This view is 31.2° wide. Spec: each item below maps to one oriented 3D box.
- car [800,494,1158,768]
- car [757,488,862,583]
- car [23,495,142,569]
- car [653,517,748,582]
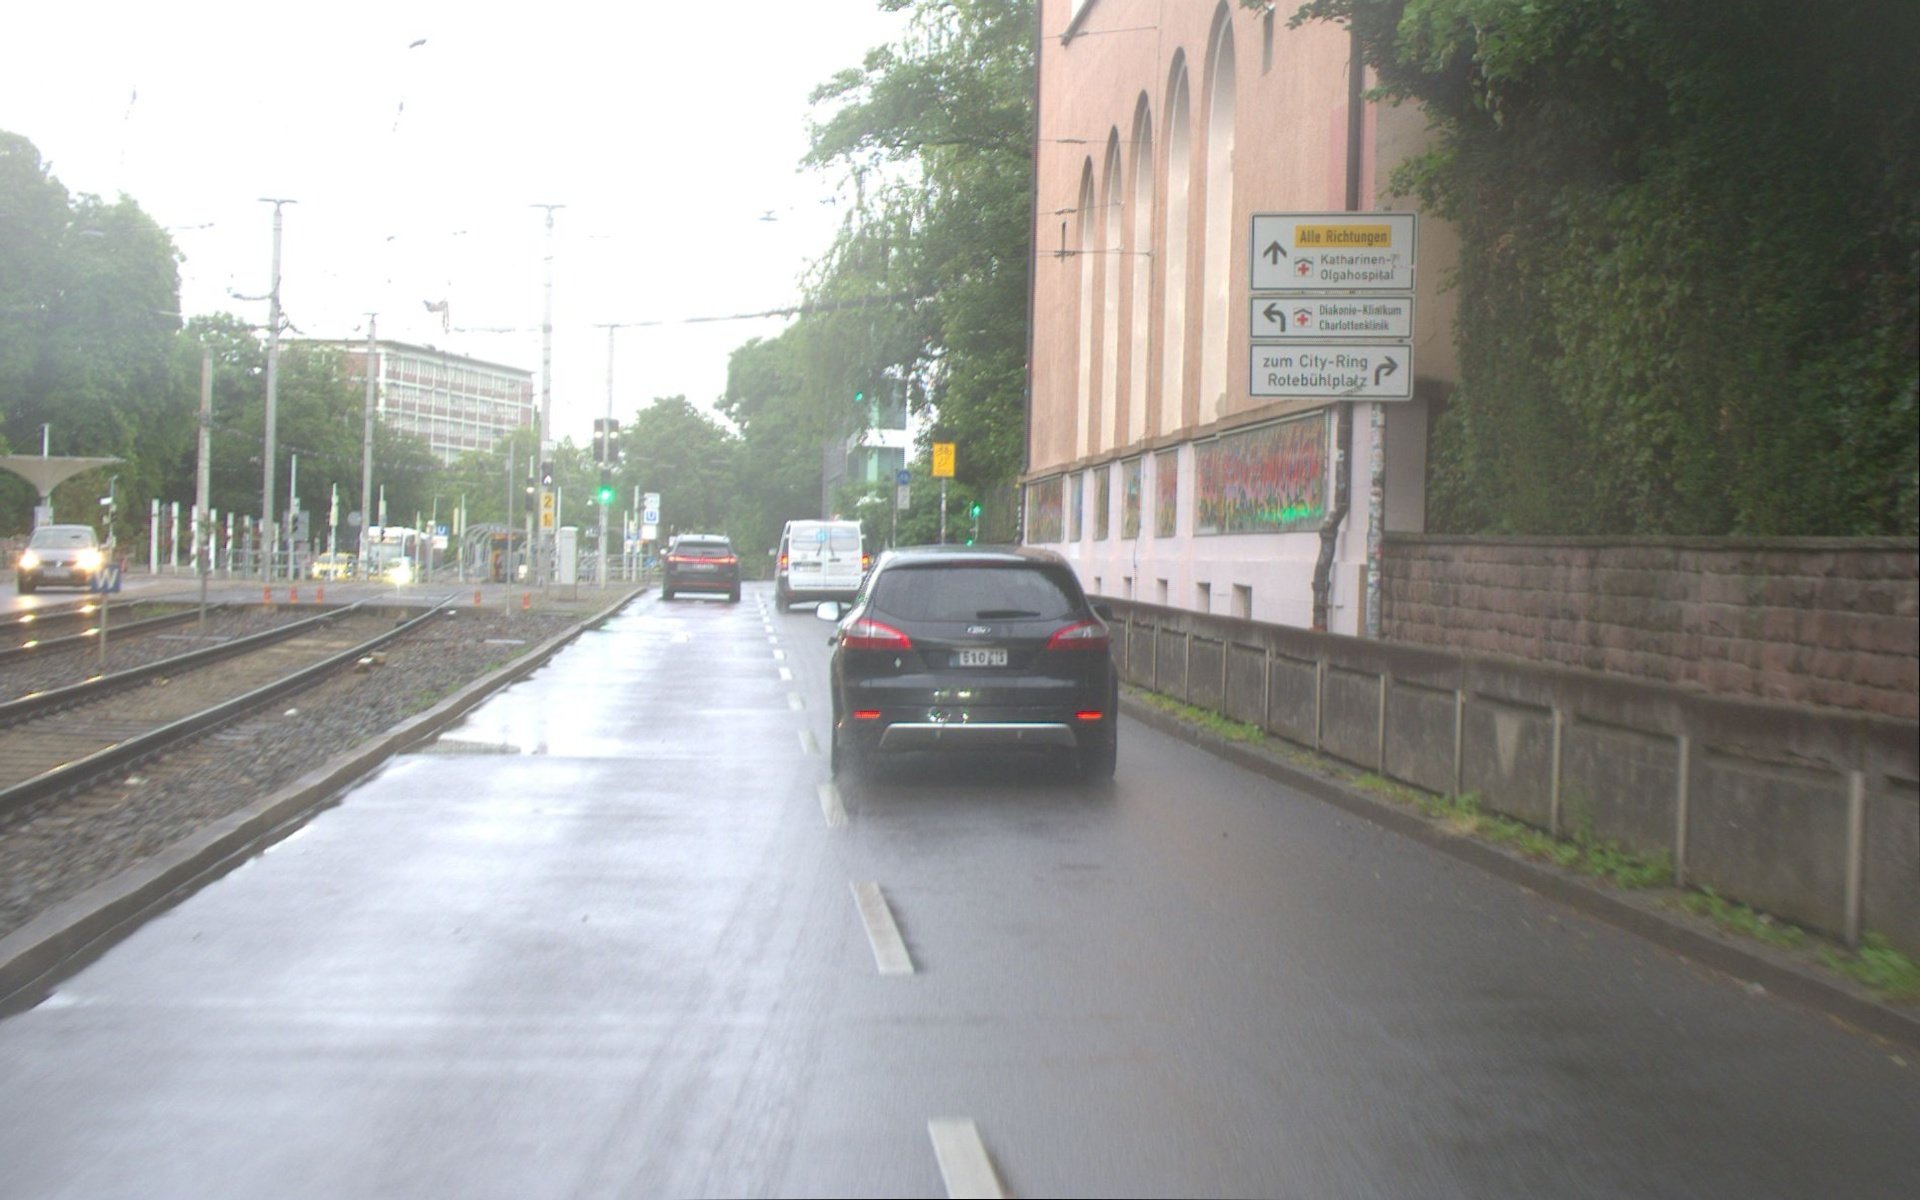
[{"bbox_3d":[0.014,0.139,22.810,2.035,1.579,4.393,2,1,-4],"label":"car"},{"bbox_3d":[-3.084,-1.340,71.158,2.035,1.833,4.393,2,1,-2],"label":"car"},{"bbox_3d":[-19.072,-1.483,74.867,1.939,1.531,4.350,-2,1,-7],"label":"car"},{"bbox_3d":[-6.156,-1.211,82.006,2.098,1.500,4.732,0,1,-2],"label":"car"}]
